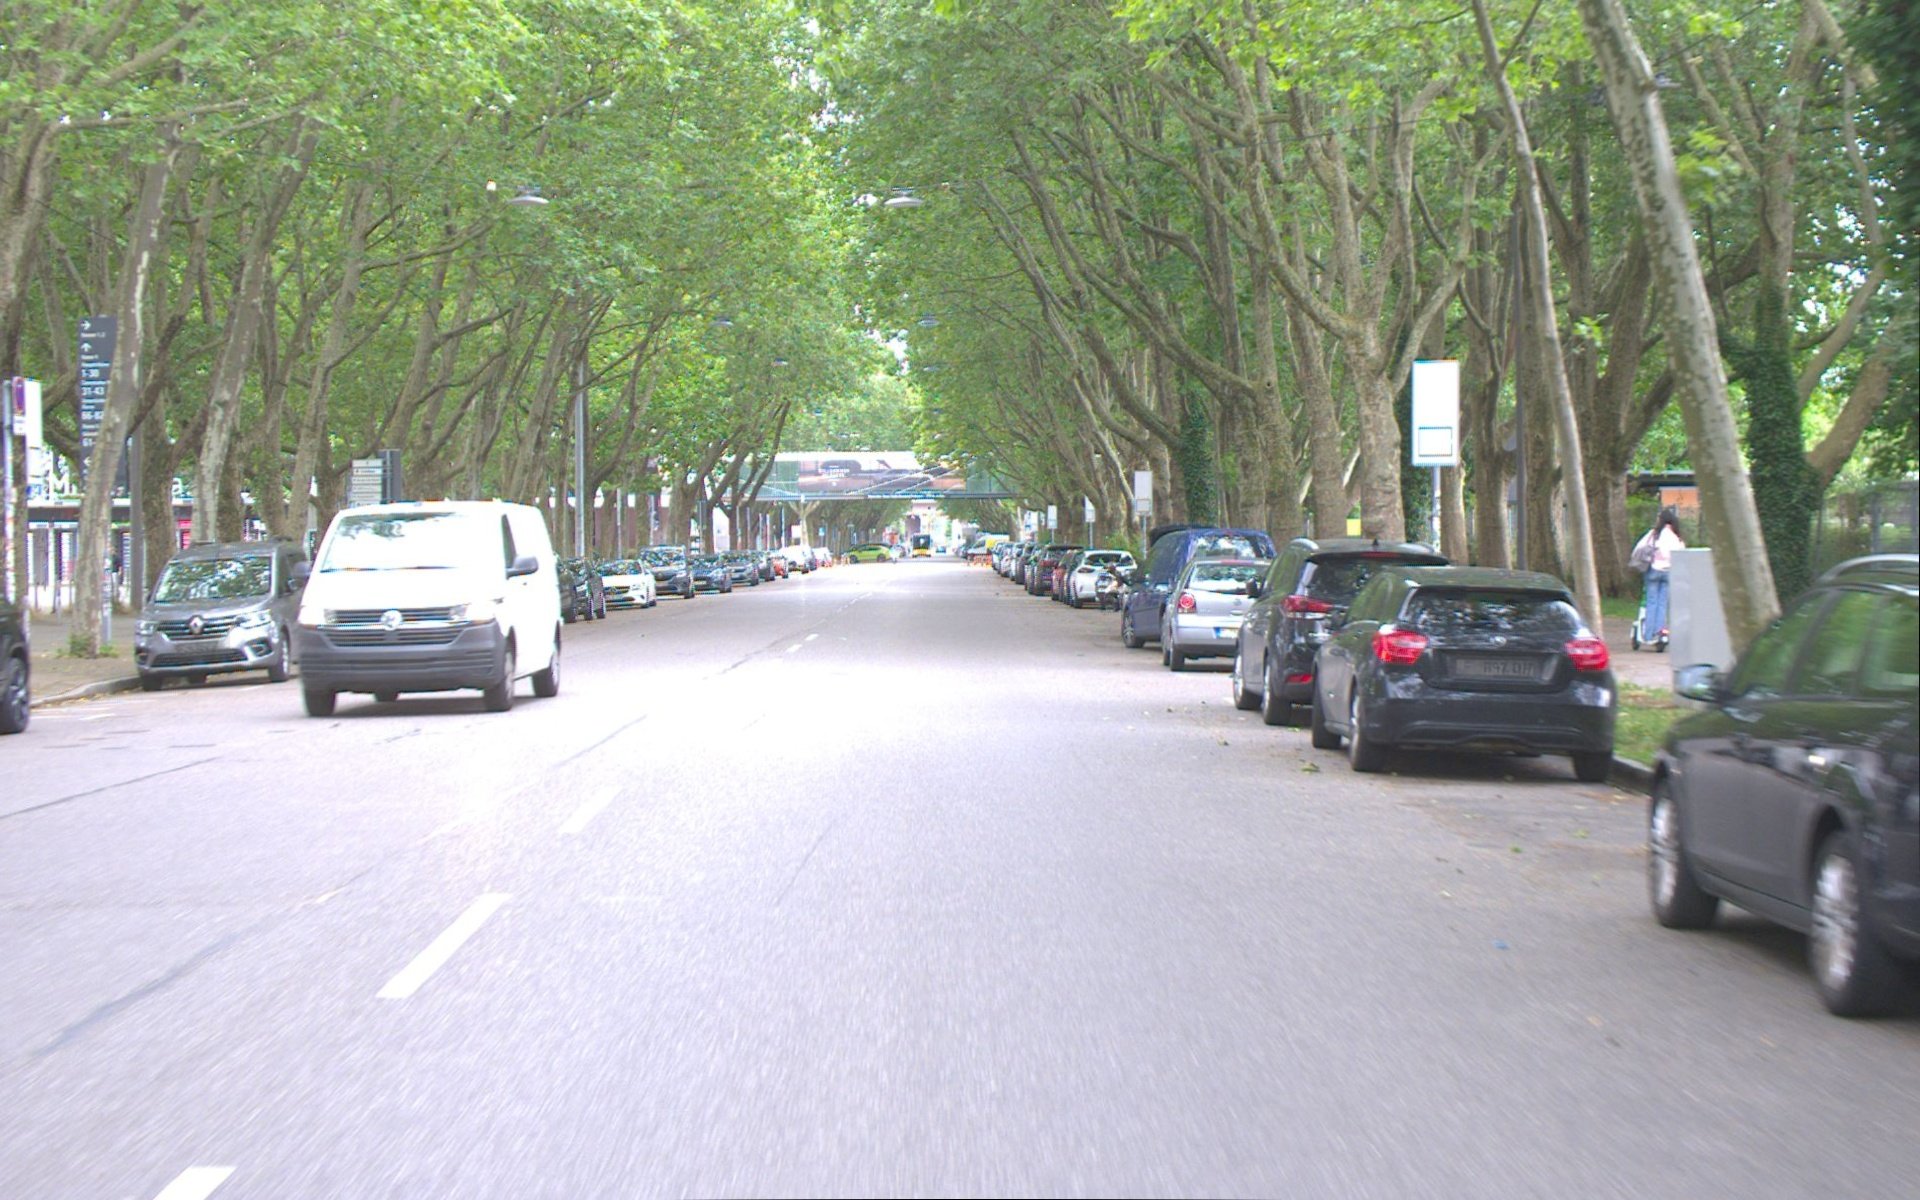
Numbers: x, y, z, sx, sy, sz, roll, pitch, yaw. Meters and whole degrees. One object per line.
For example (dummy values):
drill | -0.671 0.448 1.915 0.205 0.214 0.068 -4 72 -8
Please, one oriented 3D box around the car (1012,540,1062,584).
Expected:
car | 3.067 -1.531 137.595 1.707 1.692 4.631 1 1 -2

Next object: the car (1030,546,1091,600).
car | 3.139 -0.848 107.839 1.755 1.614 4.439 1 1 0

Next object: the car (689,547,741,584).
car | -10.448 -1.485 146.564 1.878 1.521 4.151 -1 1 0

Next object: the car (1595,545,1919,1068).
car | 3.674 0.613 12.520 1.777 1.548 4.397 2 1 -1

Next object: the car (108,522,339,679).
car | -9.294 -0.020 43.725 1.895 1.789 4.613 -3 1 -1

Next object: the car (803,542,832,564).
car | -10.520 -3.467 253.778 1.993 1.596 4.001 0 1 -5

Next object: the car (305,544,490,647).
car | -9.273 -0.114 57.081 2.084 1.524 5.145 -2 1 1

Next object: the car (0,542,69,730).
car | -9.027 0.360 28.745 1.818 1.588 4.344 -3 1 2

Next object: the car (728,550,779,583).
car | -9.512 -1.556 158.642 1.827 1.460 4.627 -2 1 2

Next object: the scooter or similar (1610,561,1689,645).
scooter or similar | 9.000 0.027 44.919 0.680 1.034 1.467 -3 1 0

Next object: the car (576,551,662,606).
car | -9.621 -0.618 97.306 1.904 1.398 4.751 -3 1 0

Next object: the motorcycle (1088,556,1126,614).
motorcycle | 3.452 -0.357 80.687 0.712 1.327 1.992 0 1 8

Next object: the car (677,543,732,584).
car | -9.543 -1.384 128.749 1.724 1.481 4.575 0 1 0

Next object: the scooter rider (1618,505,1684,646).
scooter rider | 8.993 -0.323 44.751 0.676 1.794 0.587 -2 1 0

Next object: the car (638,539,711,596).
car | -9.158 -1.056 110.590 1.949 1.744 4.638 -2 1 -1

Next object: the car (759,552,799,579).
car | -10.704 -2.045 203.558 2.073 1.557 4.756 0 1 0

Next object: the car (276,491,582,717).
car | -4.989 -0.027 33.101 2.059 1.954 5.466 -1 1 0

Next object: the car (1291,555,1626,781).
car | 3.518 0.426 24.999 1.776 1.413 4.287 2 1 0

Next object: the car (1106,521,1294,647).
car | 3.571 -0.280 51.929 1.841 1.777 4.449 2 1 -9

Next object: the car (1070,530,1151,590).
car | 3.743 -1.006 85.945 1.735 1.433 4.123 0 1 -2

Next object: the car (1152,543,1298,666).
car | 3.393 0.027 44.558 1.619 1.456 3.946 2 1 1

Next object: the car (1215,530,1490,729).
car | 3.438 0.200 30.913 1.829 1.597 4.468 2 1 -1

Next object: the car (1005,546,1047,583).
car | 3.137 -1.681 163.986 1.903 1.733 4.506 0 1 0
